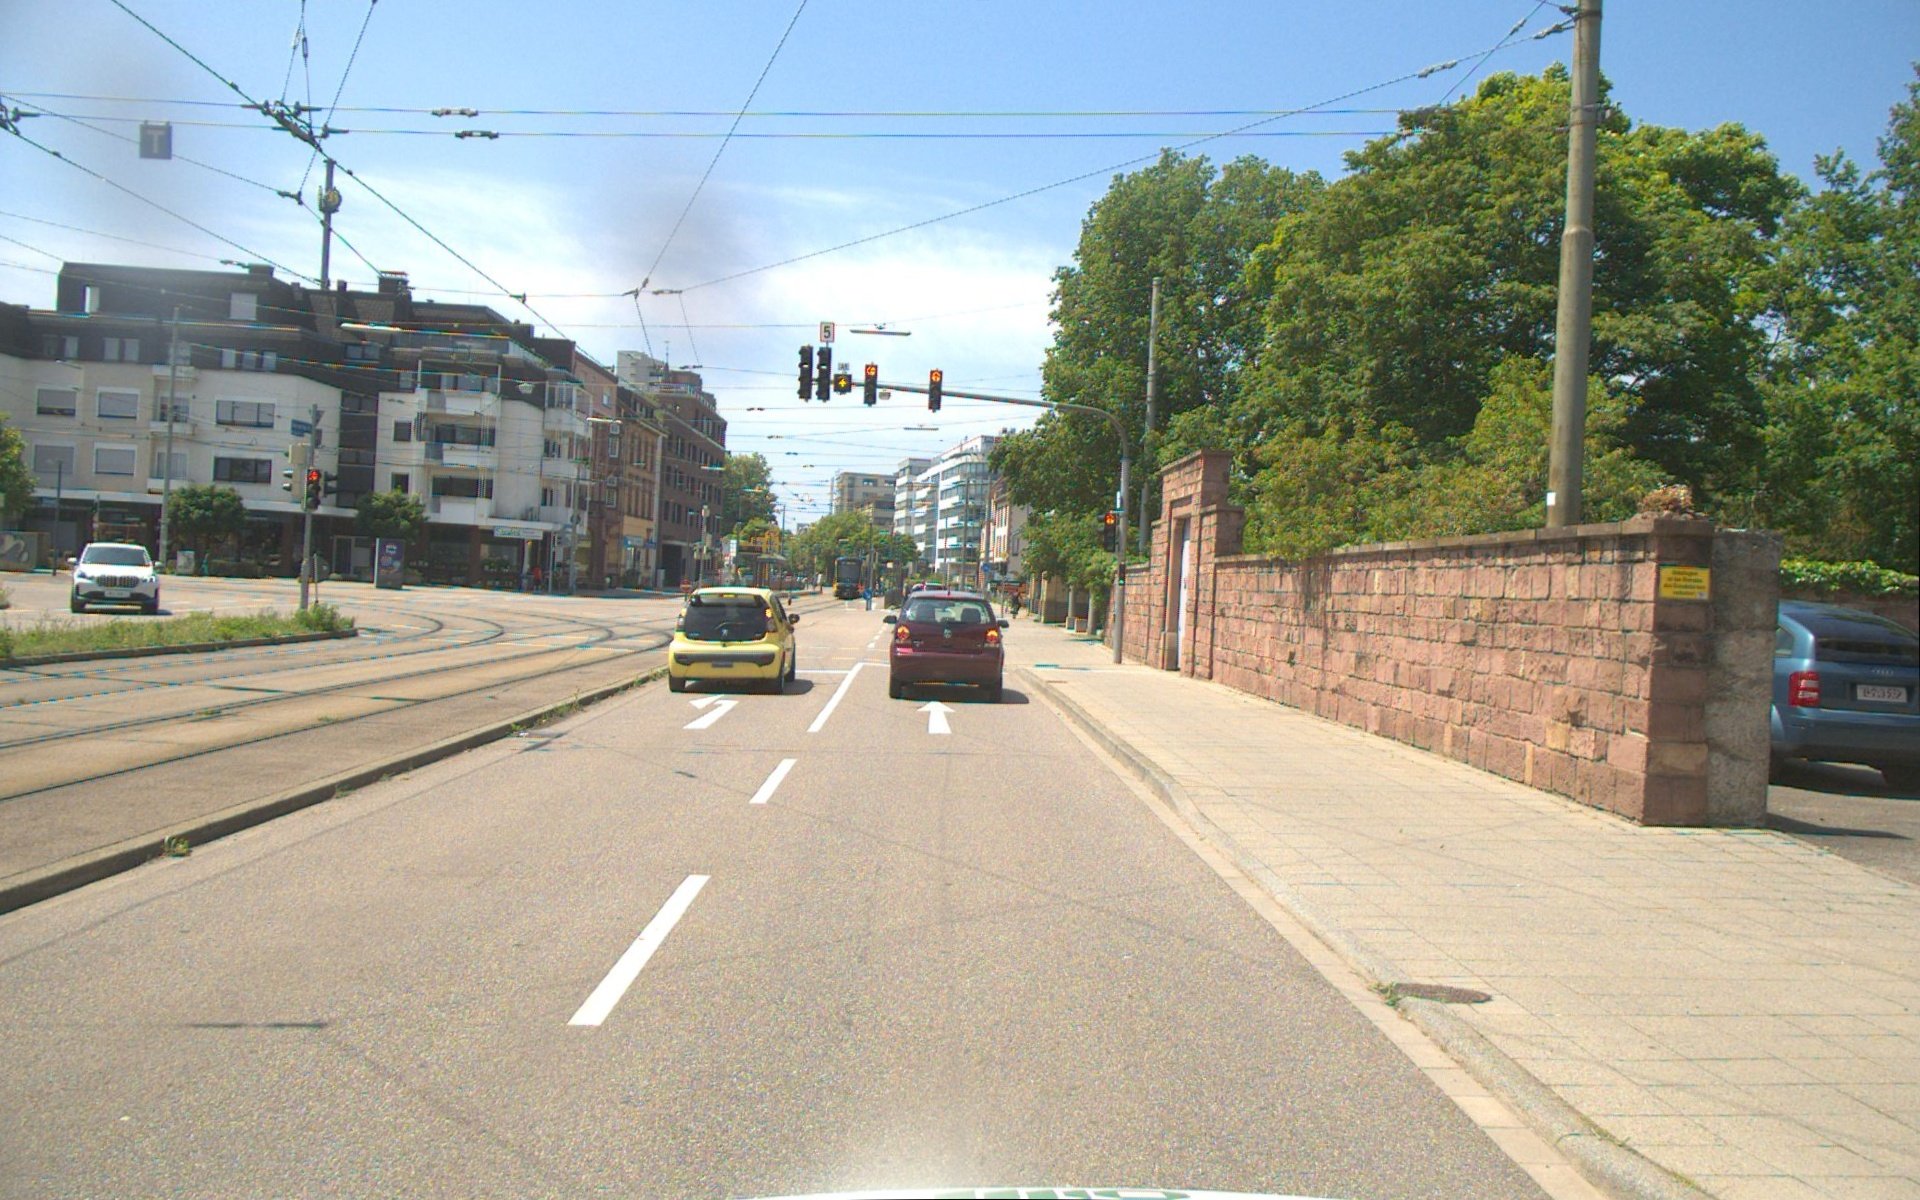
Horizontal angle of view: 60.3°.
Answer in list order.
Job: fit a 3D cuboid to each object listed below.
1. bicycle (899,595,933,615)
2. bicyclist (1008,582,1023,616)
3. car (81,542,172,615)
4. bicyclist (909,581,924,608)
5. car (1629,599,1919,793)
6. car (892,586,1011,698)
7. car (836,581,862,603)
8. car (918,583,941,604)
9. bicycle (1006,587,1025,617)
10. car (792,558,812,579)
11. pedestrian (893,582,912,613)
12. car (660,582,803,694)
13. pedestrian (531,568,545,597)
[{"bbox_3d":[-2.397,0.284,90.634,1.829,1.025,0.578,1,-1,-6],"label":"bicycle"},{"bbox_3d":[2.990,-0.052,89.078,0.707,1.850,0.888,1,-1,-1],"label":"bicyclist"},{"bbox_3d":[-20.083,-0.497,39.967,1.701,1.638,4.535,2,0,-24],"label":"car"},{"bbox_3d":[-2.388,-0.300,90.636,0.751,1.430,0.506,1,-1,-5],"label":"bicyclist"},{"bbox_3d":[7.490,0.796,15.011,1.451,1.508,2.943,3,0,-3],"label":"car"},{"bbox_3d":[-0.160,0.548,24.177,1.577,1.489,4.084,0,0,-1],"label":"car"},{"bbox_3d":[-9.103,-0.632,136.007,1.899,1.670,3.999,1,0,-1],"label":"car"},{"bbox_3d":[-2.103,-0.459,114.362,1.540,1.440,3.719,0,0,-1],"label":"car"},{"bbox_3d":[2.999,0.112,89.609,0.818,1.552,3.999,1,0,-1],"label":"bicycle"},{"bbox_3d":[-16.556,-3.306,173.204,1.700,2.048,3.999,2,0,-1],"label":"car"},{"bbox_3d":[-3.213,-0.147,92.574,0.962,1.690,0.918,2,0,-5],"label":"pedestrian"},{"bbox_3d":[-3.260,0.500,24.136,1.688,1.470,3.292,1,1,-2],"label":"car"},{"bbox_3d":[-23.234,-0.956,91.063,0.473,1.568,0.538,1,-1,18],"label":"pedestrian"}]
